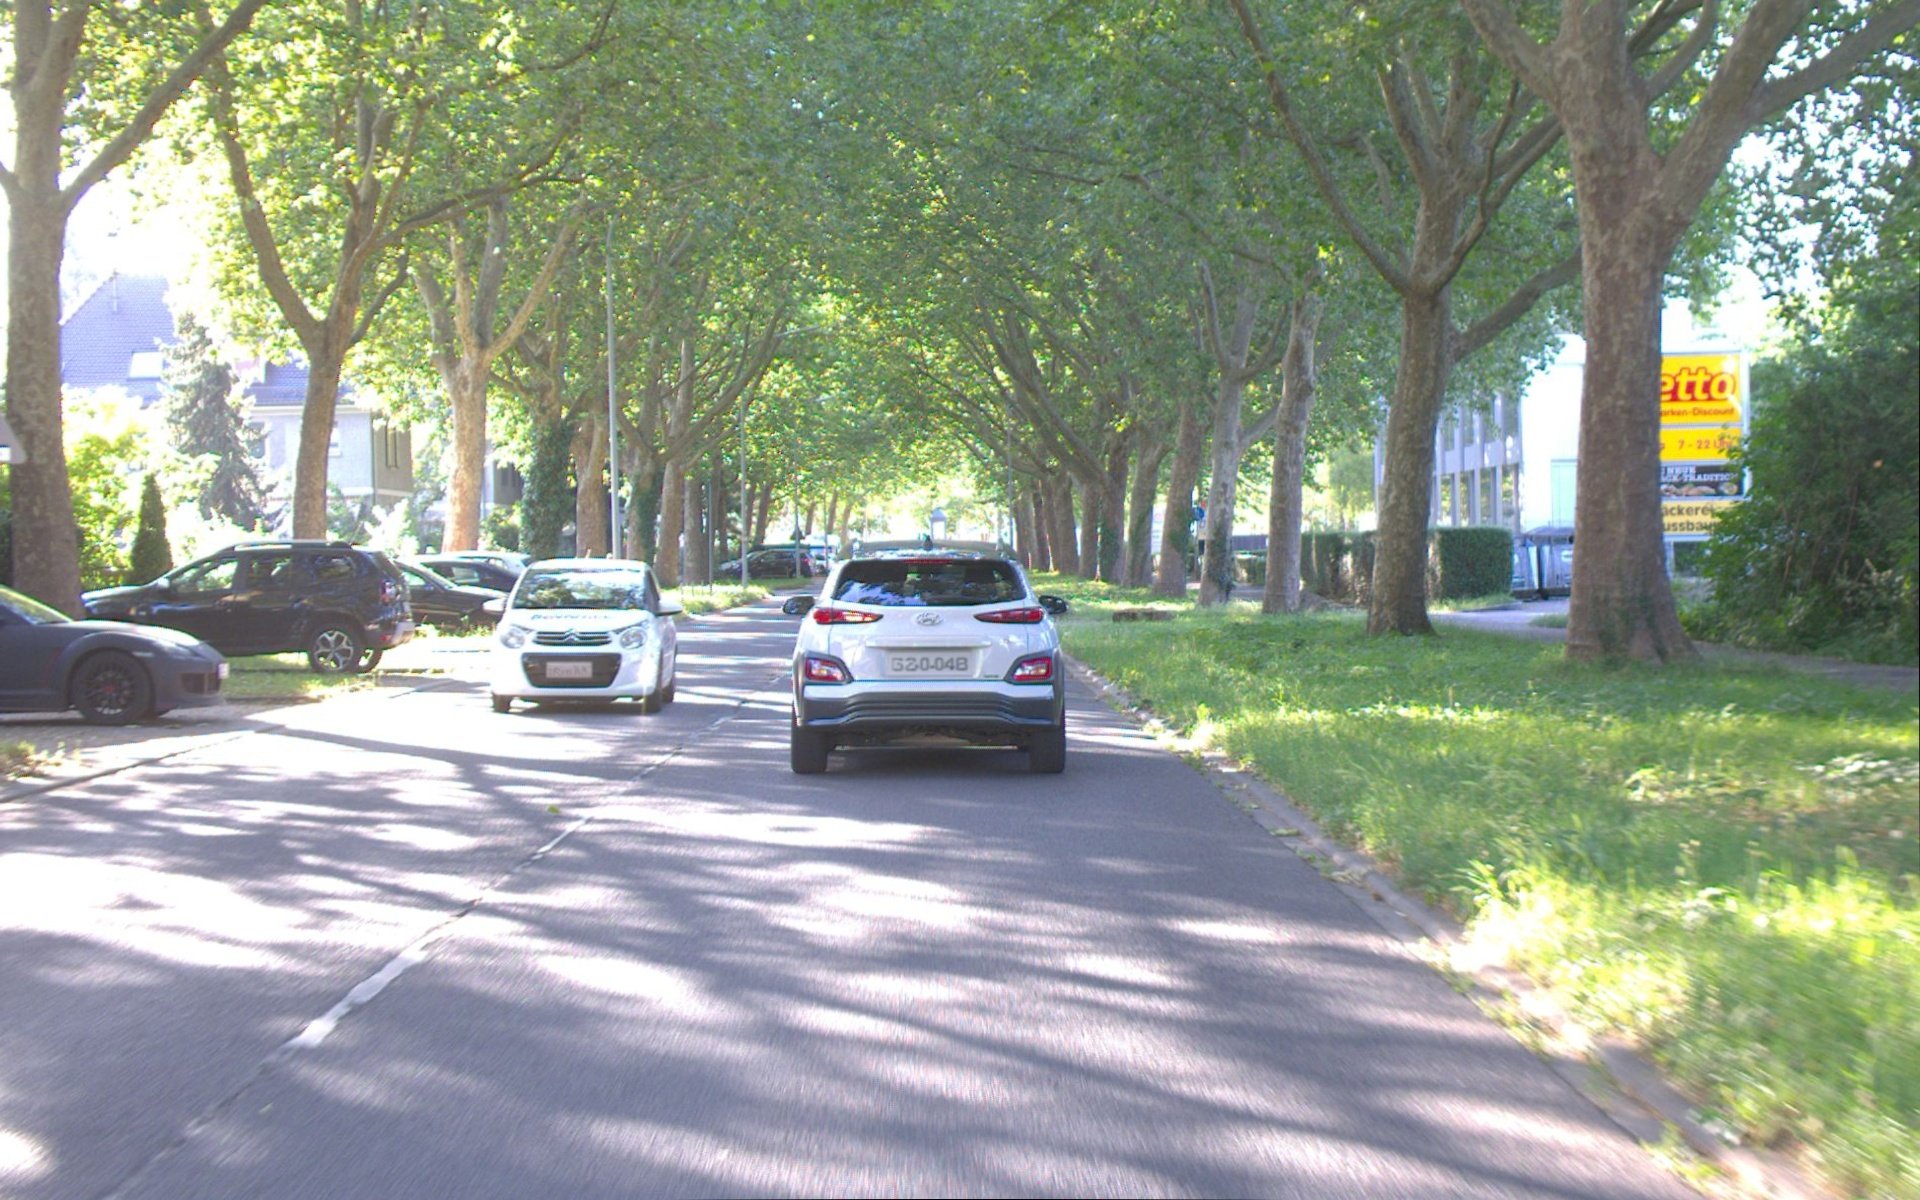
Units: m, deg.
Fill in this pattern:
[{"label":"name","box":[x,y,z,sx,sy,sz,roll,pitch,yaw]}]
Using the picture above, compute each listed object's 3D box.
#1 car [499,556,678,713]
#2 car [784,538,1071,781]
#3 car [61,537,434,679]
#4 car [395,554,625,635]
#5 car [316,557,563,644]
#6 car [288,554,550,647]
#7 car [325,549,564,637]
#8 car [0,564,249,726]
[{"label":"car","box":[-3.599,0.300,33.711,1.535,1.454,3.185,-1,1,-3]},{"label":"car","box":[-0.231,0.367,24.006,1.835,1.550,4.000,0,0,-1]},{"label":"car","box":[-8.738,0.089,42.381,4.243,1.674,1.671,-1,1,0]},{"label":"car","box":[-8.287,-0.111,63.595,3.987,1.465,1.809,0,1,1]},{"label":"car","box":[-8.752,-0.012,58.025,3.986,1.419,1.809,0,1,-4]},{"label":"car","box":[-8.722,-0.001,55.633,3.986,1.465,1.781,0,1,-1]},{"label":"car","box":[-9.091,-0.130,60.873,3.987,1.515,1.809,0,1,-1]},{"label":"car","box":[-8.548,0.405,30.229,4.240,1.348,1.741,-1,0,-2]}]
